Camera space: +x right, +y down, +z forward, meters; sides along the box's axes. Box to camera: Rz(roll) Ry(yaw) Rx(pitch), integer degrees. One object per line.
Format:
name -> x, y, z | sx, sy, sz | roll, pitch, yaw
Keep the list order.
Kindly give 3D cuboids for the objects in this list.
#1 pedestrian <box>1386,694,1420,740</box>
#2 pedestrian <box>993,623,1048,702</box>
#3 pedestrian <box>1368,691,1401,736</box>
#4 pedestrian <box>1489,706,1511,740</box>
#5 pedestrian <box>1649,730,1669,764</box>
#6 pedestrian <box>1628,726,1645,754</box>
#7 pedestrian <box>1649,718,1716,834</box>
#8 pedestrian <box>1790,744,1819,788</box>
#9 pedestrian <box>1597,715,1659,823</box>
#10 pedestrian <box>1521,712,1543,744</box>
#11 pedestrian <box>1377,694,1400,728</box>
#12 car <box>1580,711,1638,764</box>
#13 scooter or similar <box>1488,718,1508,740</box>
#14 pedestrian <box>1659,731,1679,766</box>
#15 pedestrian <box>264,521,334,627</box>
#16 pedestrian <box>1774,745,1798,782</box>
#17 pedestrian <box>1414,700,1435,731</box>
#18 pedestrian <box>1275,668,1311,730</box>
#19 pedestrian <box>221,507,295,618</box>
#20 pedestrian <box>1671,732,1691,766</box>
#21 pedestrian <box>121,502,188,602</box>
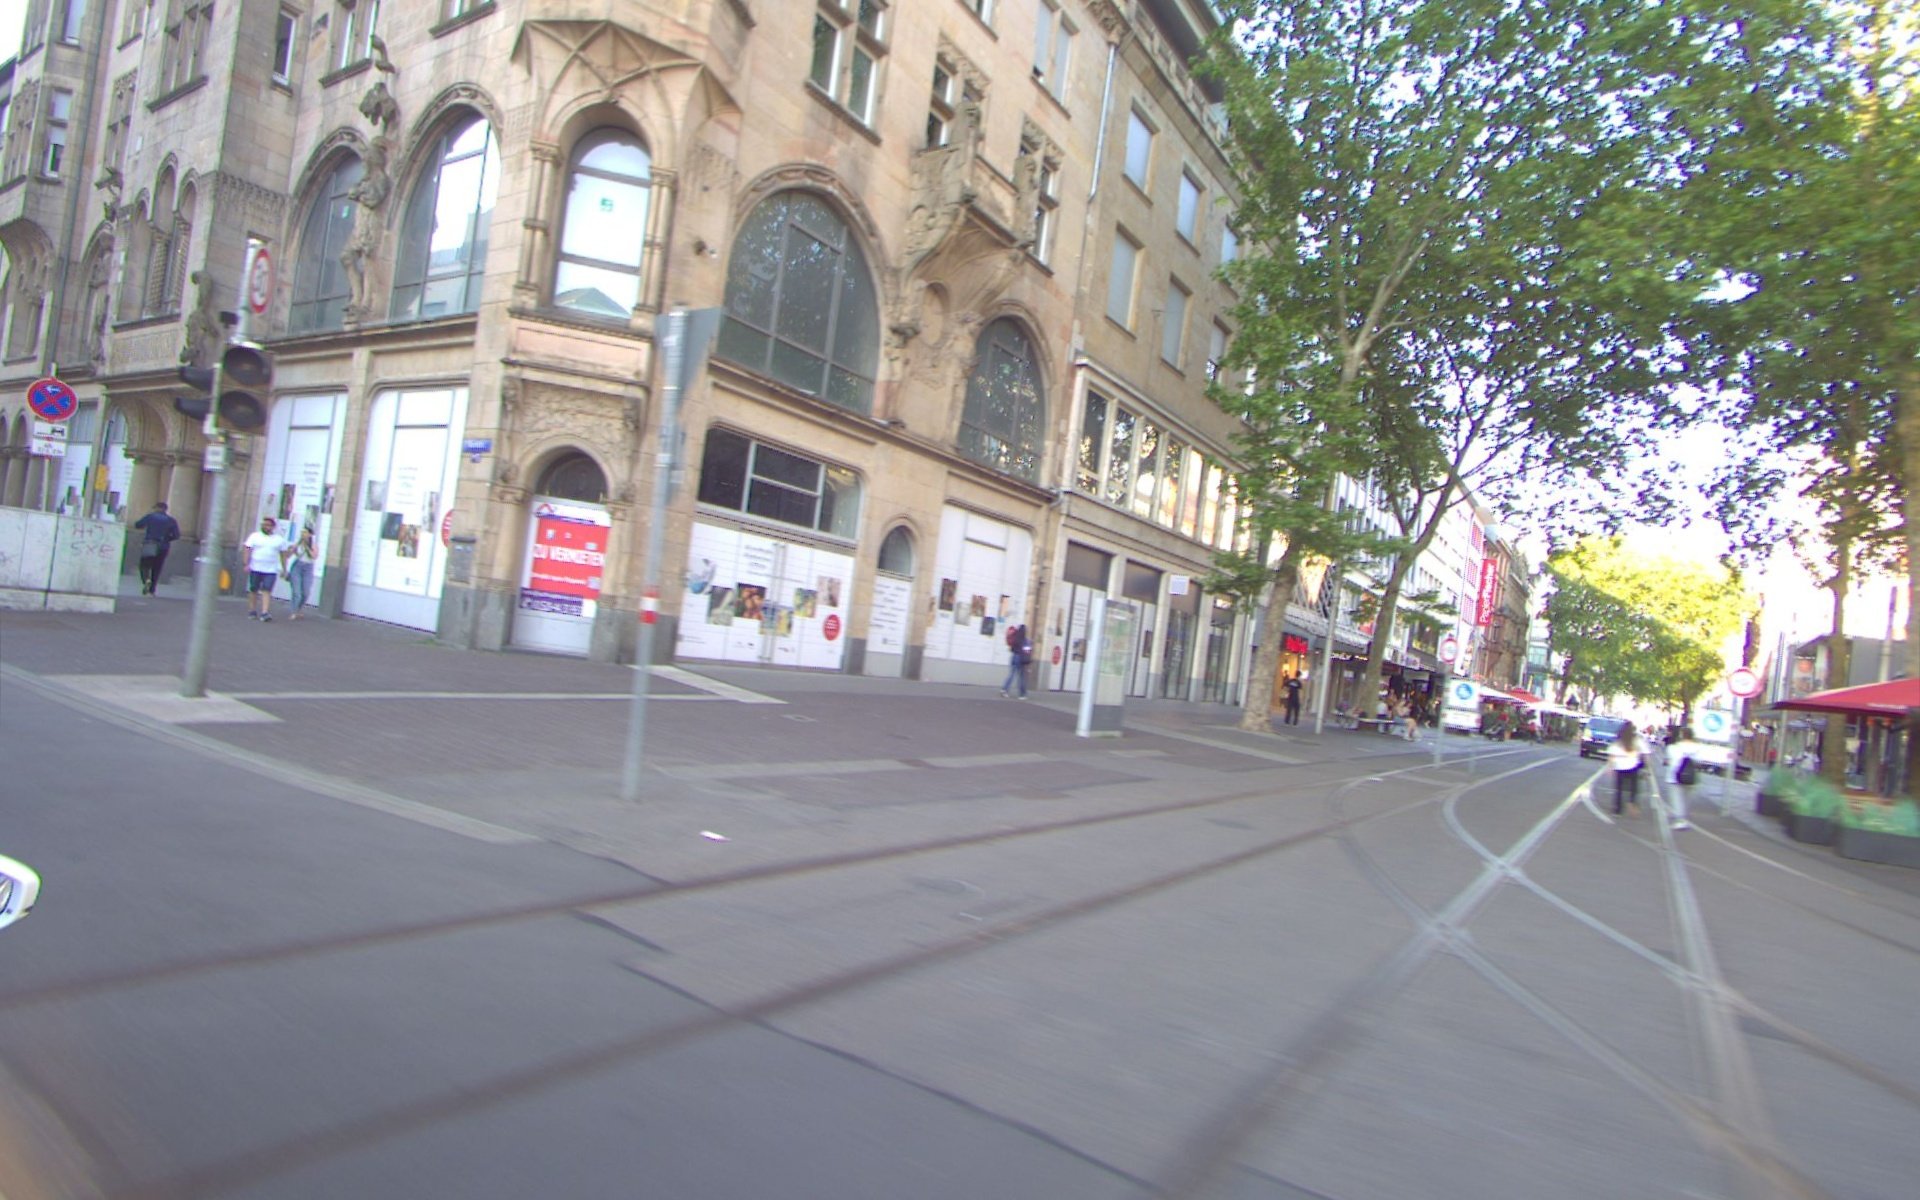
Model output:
pedestrian -> 15.024, 3.975, 34.089 | 0.766, 1.430, 0.782 | 7, -3, 34
pedestrian -> 1.349, 1.409, 22.508 | 0.702, 1.628, 0.821 | 7, -3, 34
pedestrian -> 14.983, 4.008, 35.518 | 0.771, 1.430, 0.778 | 7, -3, 34
pedestrian -> 28.378, 6.478, 52.871 | 0.820, 1.628, 0.663 | 7, -3, 34
pedestrian -> 35.498, 7.470, 51.073 | 0.652, 1.628, 0.663 | 7, -3, 34
pedestrian -> 44.936, 9.325, 66.848 | 0.748, 1.746, 0.663 | 7, -3, 34
pedestrian -> 11.952, 2.893, 16.656 | 0.702, 1.754, 0.778 | 7, -3, 34
pedestrian -> 33.309, 6.543, 39.673 | 0.652, 1.628, 0.663 | 7, -3, 34
pedestrian -> 11.439, 2.881, 17.243 | 0.715, 1.679, 0.778 | 7, -3, 34
pedestrian -> 30.989, 6.929, 54.484 | 0.820, 1.628, 0.663 | 7, -3, 34
pedestrian -> 22.652, 5.860, 53.168 | 0.820, 1.628, 0.663 | 7, -3, 34
car -> 30.198, 6.429, 46.768 | 1.969, 2.035, 4.289 | 7, -4, 35
scooter or similar -> 27.998, 6.716, 52.350 | 0.773, 0.979, 0.663 | 7, -3, 34
pedestrian -> 35.464, 7.418, 50.326 | 0.652, 1.628, 0.663 | 7, -3, 34
pedestrian -> -11.398, -0.440, 17.345 | 0.616, 1.709, 0.626 | 7, -1, 33
pedestrian -> 38.677, 7.667, 47.111 | 0.652, 1.628, 0.663 | 7, -3, 34
pedestrian -> 27.023, 6.711, 58.490 | 0.820, 1.628, 0.663 | 7, -3, 34
pedestrian -> 10.616, 3.143, 32.062 | 0.702, 1.843, 0.778 | 7, -3, 34
pedestrian -> -11.603, -0.620, 16.627 | 0.660, 1.709, 0.626 | 7, -1, 33
pedestrian -> 36.294, 7.513, 50.658 | 0.652, 1.628, 0.663 | 7, -3, 34
pedestrian -> -14.874, -0.881, 18.577 | 0.660, 1.709, 0.626 | 7, -1, 33
